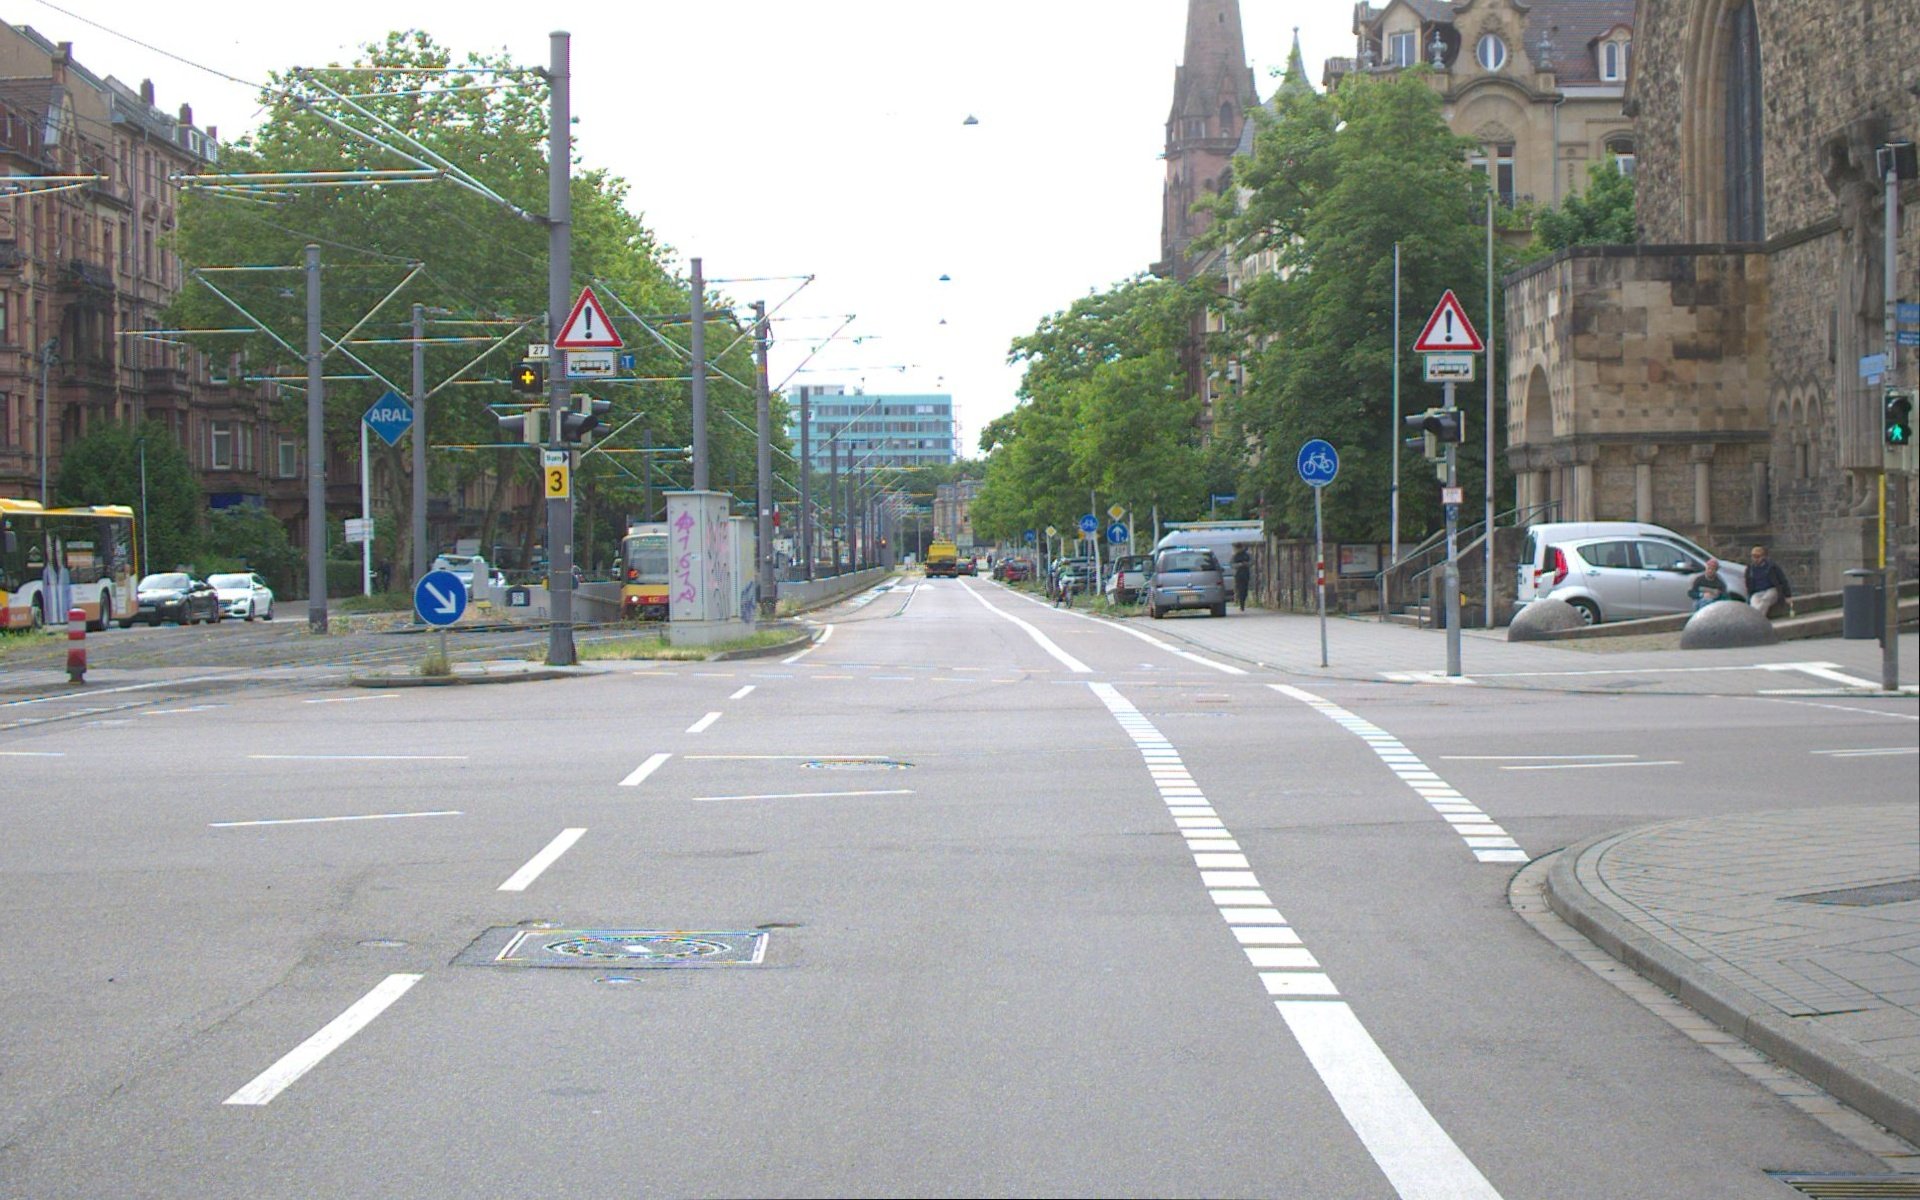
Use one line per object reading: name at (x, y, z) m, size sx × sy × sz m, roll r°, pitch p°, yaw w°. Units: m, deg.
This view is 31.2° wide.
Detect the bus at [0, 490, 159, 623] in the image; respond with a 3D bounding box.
bus at (-21.730, -1.066, 79.866) m, size 3.281 × 2.846 × 12.381 m, roll 0°, pitch 1°, yaw 0°

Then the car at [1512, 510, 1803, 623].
car at (11.898, -0.579, 58.813) m, size 4.610 × 1.875 × 1.663 m, roll 0°, pitch 1°, yaw 0°

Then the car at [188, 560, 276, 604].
car at (-21.191, -0.548, 100.163) m, size 1.702 × 1.217 × 3.891 m, roll 0°, pitch 1°, yaw 0°

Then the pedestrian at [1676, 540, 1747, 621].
pedestrian at (11.260, -0.306, 51.542) m, size 0.736 × 1.187 × 1.493 m, roll 0°, pitch 1°, yaw 0°

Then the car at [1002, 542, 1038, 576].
car at (3.623, -2.485, 208.776) m, size 1.993 × 2.007 × 4.000 m, roll 0°, pitch 1°, yaw -1°

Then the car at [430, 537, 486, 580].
car at (-20.429, -1.716, 140.056) m, size 1.702 × 1.706 × 3.891 m, roll 0°, pitch 1°, yaw 0°

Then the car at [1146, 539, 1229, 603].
car at (5.305, -0.697, 80.621) m, size 1.702 × 1.454 × 3.891 m, roll 0°, pitch 1°, yaw 0°

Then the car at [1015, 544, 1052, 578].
car at (4.271, -2.284, 201.066) m, size 1.993 × 1.919 × 4.000 m, roll 0°, pitch 1°, yaw -1°

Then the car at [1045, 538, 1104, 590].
car at (4.200, -1.340, 126.676) m, size 1.993 × 1.814 × 4.000 m, roll -1°, pitch 1°, yaw 0°

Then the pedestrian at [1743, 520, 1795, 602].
pedestrian at (12.227, -0.599, 51.957) m, size 0.737 × 1.224 × 1.062 m, roll 1°, pitch 1°, yaw 15°

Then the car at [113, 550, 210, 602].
car at (-21.553, -0.660, 92.925) m, size 1.702 × 1.354 × 3.891 m, roll 0°, pitch 1°, yaw 0°

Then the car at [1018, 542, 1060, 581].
car at (4.164, -2.046, 181.369) m, size 1.993 × 2.007 × 4.000 m, roll 0°, pitch 1°, yaw -1°

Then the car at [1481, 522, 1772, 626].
car at (10.686, -0.430, 55.303) m, size 4.348 × 1.630 × 1.663 m, roll 0°, pitch 1°, yaw 0°

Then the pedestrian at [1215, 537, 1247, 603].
pedestrian at (6.772, -0.763, 85.962) m, size 0.776 × 1.641 × 0.798 m, roll 0°, pitch 1°, yaw 6°

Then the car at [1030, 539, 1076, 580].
car at (4.387, -1.936, 162.904) m, size 1.993 × 1.875 × 4.000 m, roll -1°, pitch 1°, yaw 0°
